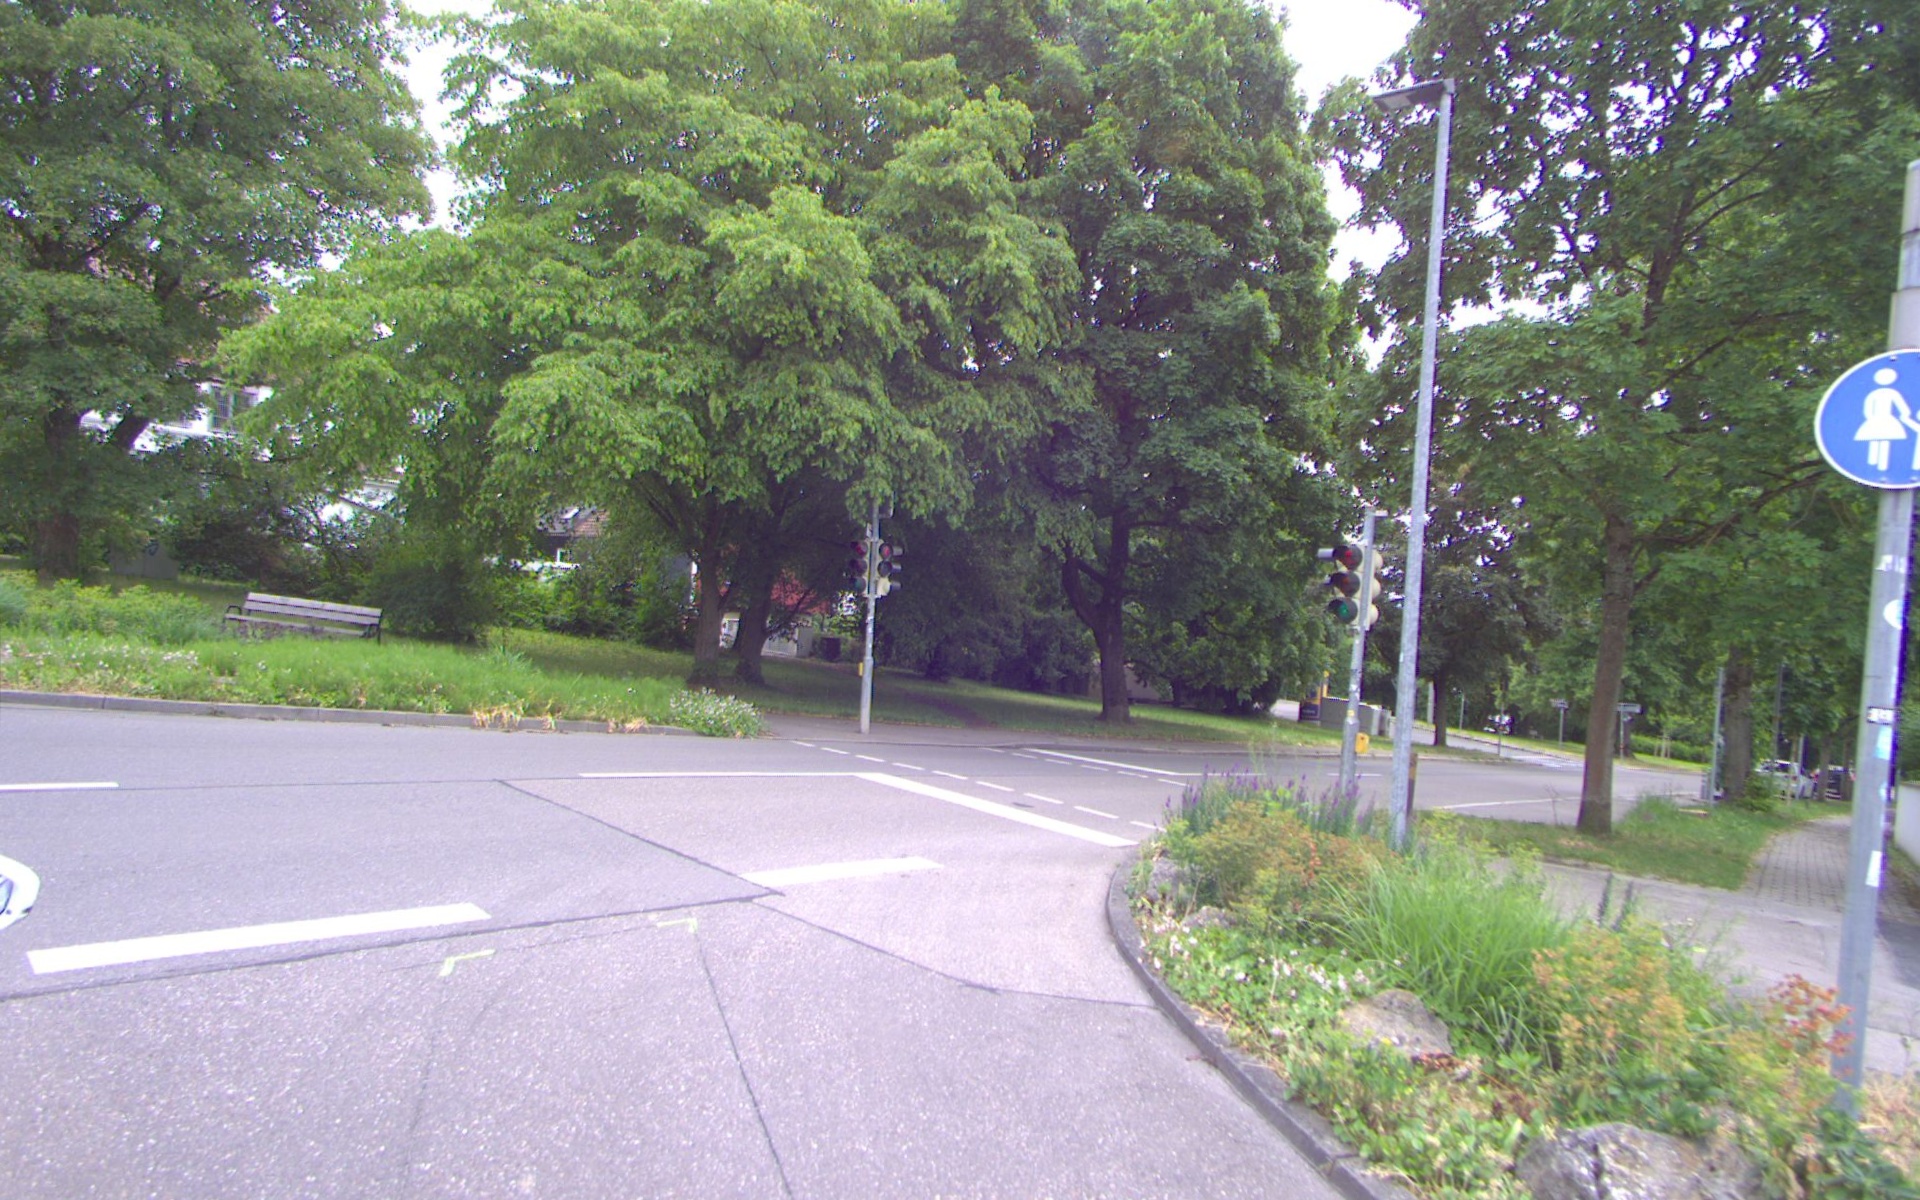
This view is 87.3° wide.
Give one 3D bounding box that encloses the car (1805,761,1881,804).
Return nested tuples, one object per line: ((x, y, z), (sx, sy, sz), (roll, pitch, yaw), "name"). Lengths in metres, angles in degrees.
((40.773, 8.434, 46.448), (3.813, 1.577, 1.744), (9, -2, -36), "car")

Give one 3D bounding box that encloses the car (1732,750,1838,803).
((31.328, 6.678, 38.189), (3.961, 1.571, 1.982), (7, 0, -34), "car")
